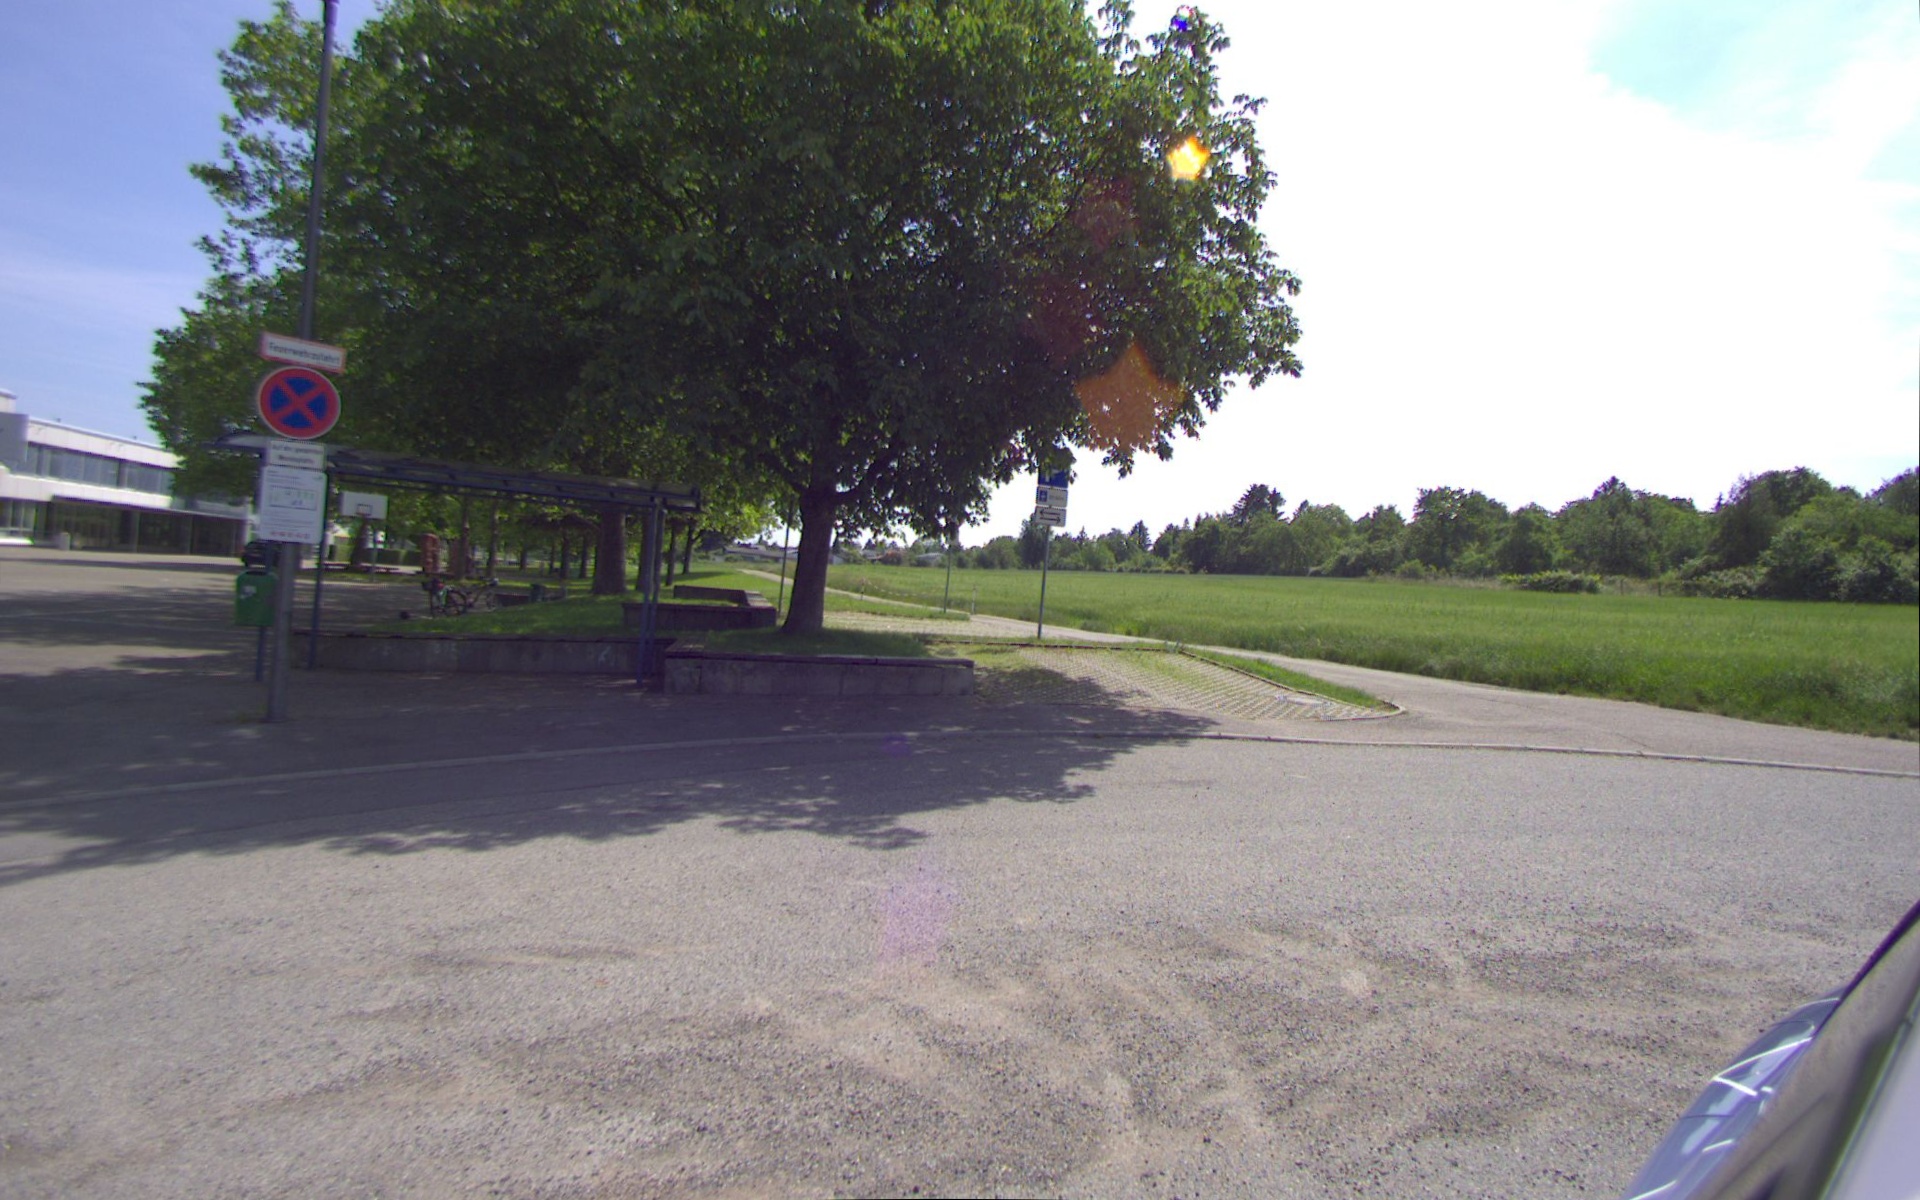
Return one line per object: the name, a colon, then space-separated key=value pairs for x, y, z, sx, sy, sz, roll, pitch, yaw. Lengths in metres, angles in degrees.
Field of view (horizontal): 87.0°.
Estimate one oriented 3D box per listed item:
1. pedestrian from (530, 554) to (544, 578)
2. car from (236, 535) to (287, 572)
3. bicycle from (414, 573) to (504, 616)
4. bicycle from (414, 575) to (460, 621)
pedestrian: x=-36.116 y=-2.902 z=86.421 sx=0.820 sy=2.039 sz=0.691 roll=4 pitch=-1 yaw=-39
car: x=-38.448 y=-2.516 z=55.780 sx=1.661 sy=1.858 sz=3.417 roll=3 pitch=0 yaw=-25
bicycle: x=-13.100 y=-0.135 z=26.486 sx=2.027 sy=1.052 sz=0.573 roll=2 pitch=0 yaw=-30
bicycle: x=-12.645 y=-0.056 z=24.508 sx=0.584 sy=1.052 sz=1.897 roll=2 pitch=1 yaw=-15
